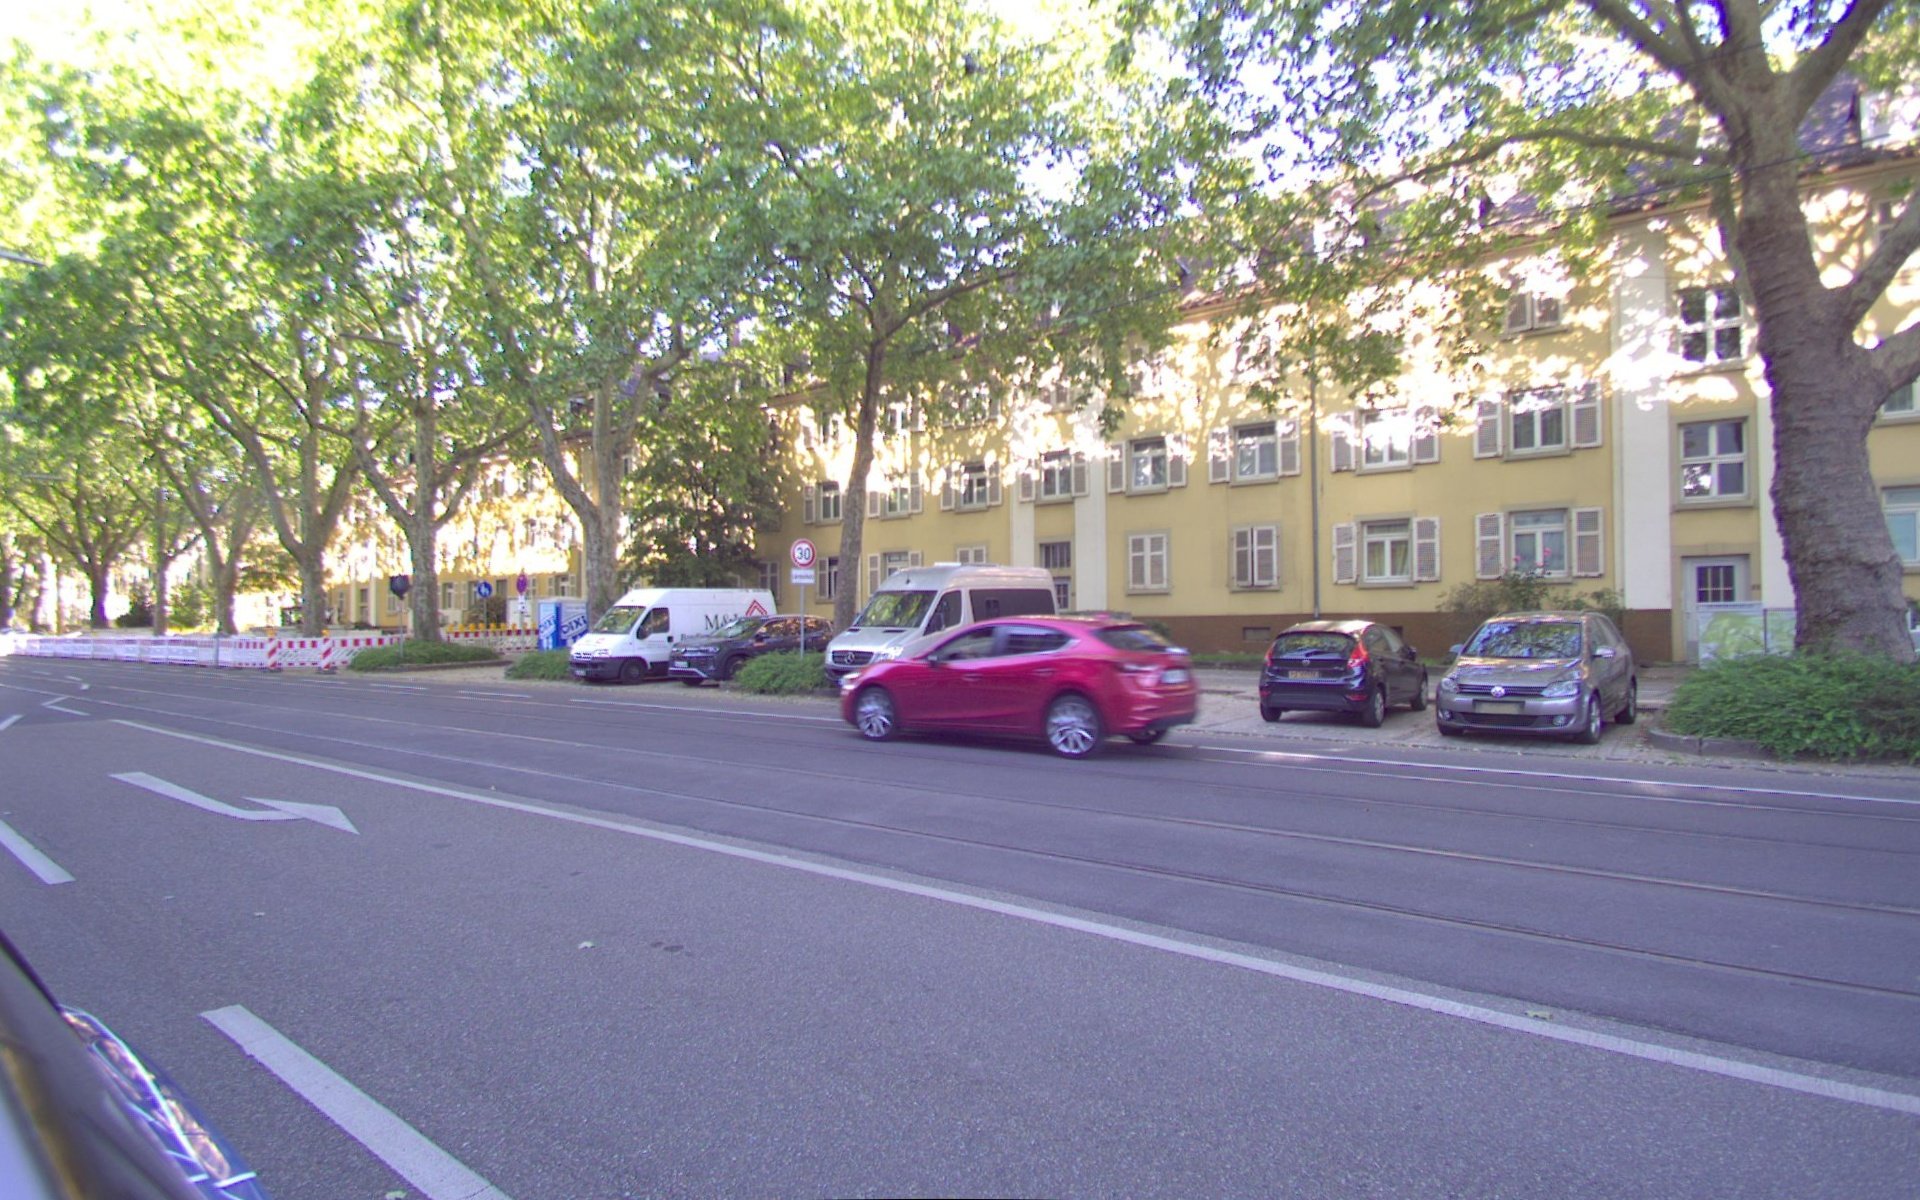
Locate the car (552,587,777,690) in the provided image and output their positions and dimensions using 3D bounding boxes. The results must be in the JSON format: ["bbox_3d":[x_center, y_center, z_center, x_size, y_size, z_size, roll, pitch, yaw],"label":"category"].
[{"bbox_3d":[-7.554,0.969,26.361,2.222,2.394,5.336,-2,-2,40],"label":"car"}]

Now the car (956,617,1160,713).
[{"bbox_3d":[1.920,1.125,18.823,1.773,1.509,4.031,-2,-1,41],"label":"car"}]

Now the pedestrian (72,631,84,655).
[{"bbox_3d":[-70.205,3.399,80.543,0.722,1.900,0.666,-1,0,-42],"label":"pedestrian"}]

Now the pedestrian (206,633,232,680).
[{"bbox_3d":[-28.437,2.165,38.821,0.582,1.759,0.644,-1,0,35],"label":"pedestrian"}]

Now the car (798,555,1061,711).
[{"bbox_3d":[-0.419,0.613,20.435,2.221,2.702,5.596,-2,-1,38],"label":"car"}]

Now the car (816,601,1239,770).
[{"bbox_3d":[0.648,0.857,11.581,4.484,1.577,1.997,-2,-2,37],"label":"car"}]

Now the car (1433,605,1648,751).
[{"bbox_3d":[7.752,0.902,13.355,1.672,1.592,3.928,-2,-1,41],"label":"car"}]

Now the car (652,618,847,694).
[{"bbox_3d":[-4.971,1.281,24.435,1.772,1.664,4.570,-2,-2,38],"label":"car"}]

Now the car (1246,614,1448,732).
[{"bbox_3d":[5.974,1.004,15.406,1.671,1.509,3.756,-2,-1,41],"label":"car"}]
